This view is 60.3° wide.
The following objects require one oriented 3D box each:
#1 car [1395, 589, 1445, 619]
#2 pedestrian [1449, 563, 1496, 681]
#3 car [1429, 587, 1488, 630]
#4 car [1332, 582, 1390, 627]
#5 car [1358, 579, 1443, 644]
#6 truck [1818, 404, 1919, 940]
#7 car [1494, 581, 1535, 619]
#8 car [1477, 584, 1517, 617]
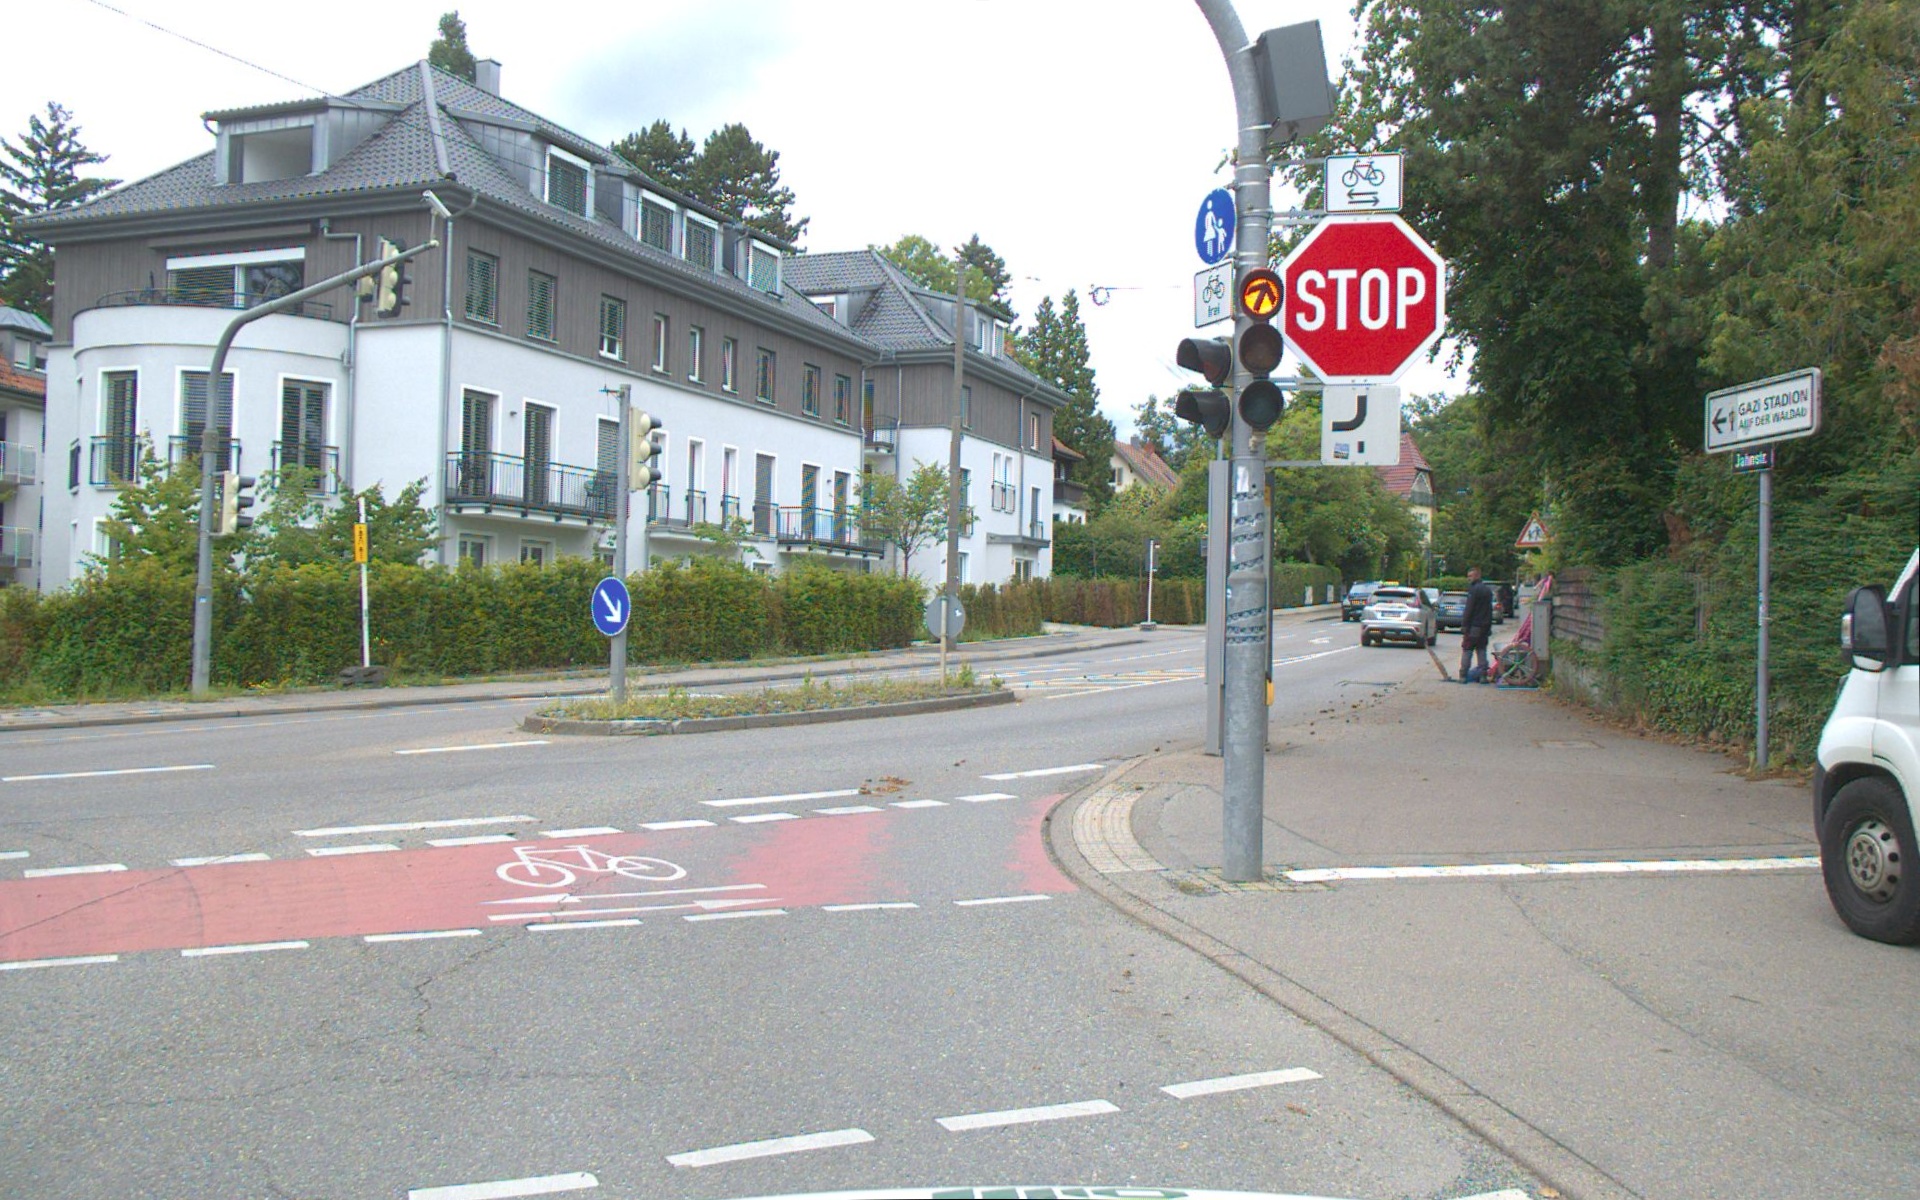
[{"bbox_3d":[23.265,0.181,83.551,1.899,1.428,4.742,1,1,22],"label":"car"},{"bbox_3d":[8.537,0.358,27.555,0.584,1.940,0.558,1,0,0],"label":"pedestrian"},{"bbox_3d":[18.547,0.293,61.441,1.763,1.553,4.743,-1,0,21],"label":"car"},{"bbox_3d":[18.126,0.221,74.659,1.873,1.913,5.142,-1,-1,21],"label":"car"},{"bbox_3d":[12.642,0.308,47.267,1.770,1.784,4.486,-1,0,22],"label":"car"},{"bbox_3d":[5.135,0.319,5.020,2.162,2.283,5.724,1,0,1],"label":"truck"},{"bbox_3d":[29.925,-0.002,89.108,1.879,1.927,4.909,2,1,20],"label":"car"},{"bbox_3d":[24.684,0.013,75.934,1.658,1.455,3.750,-1,0,19],"label":"car"}]
